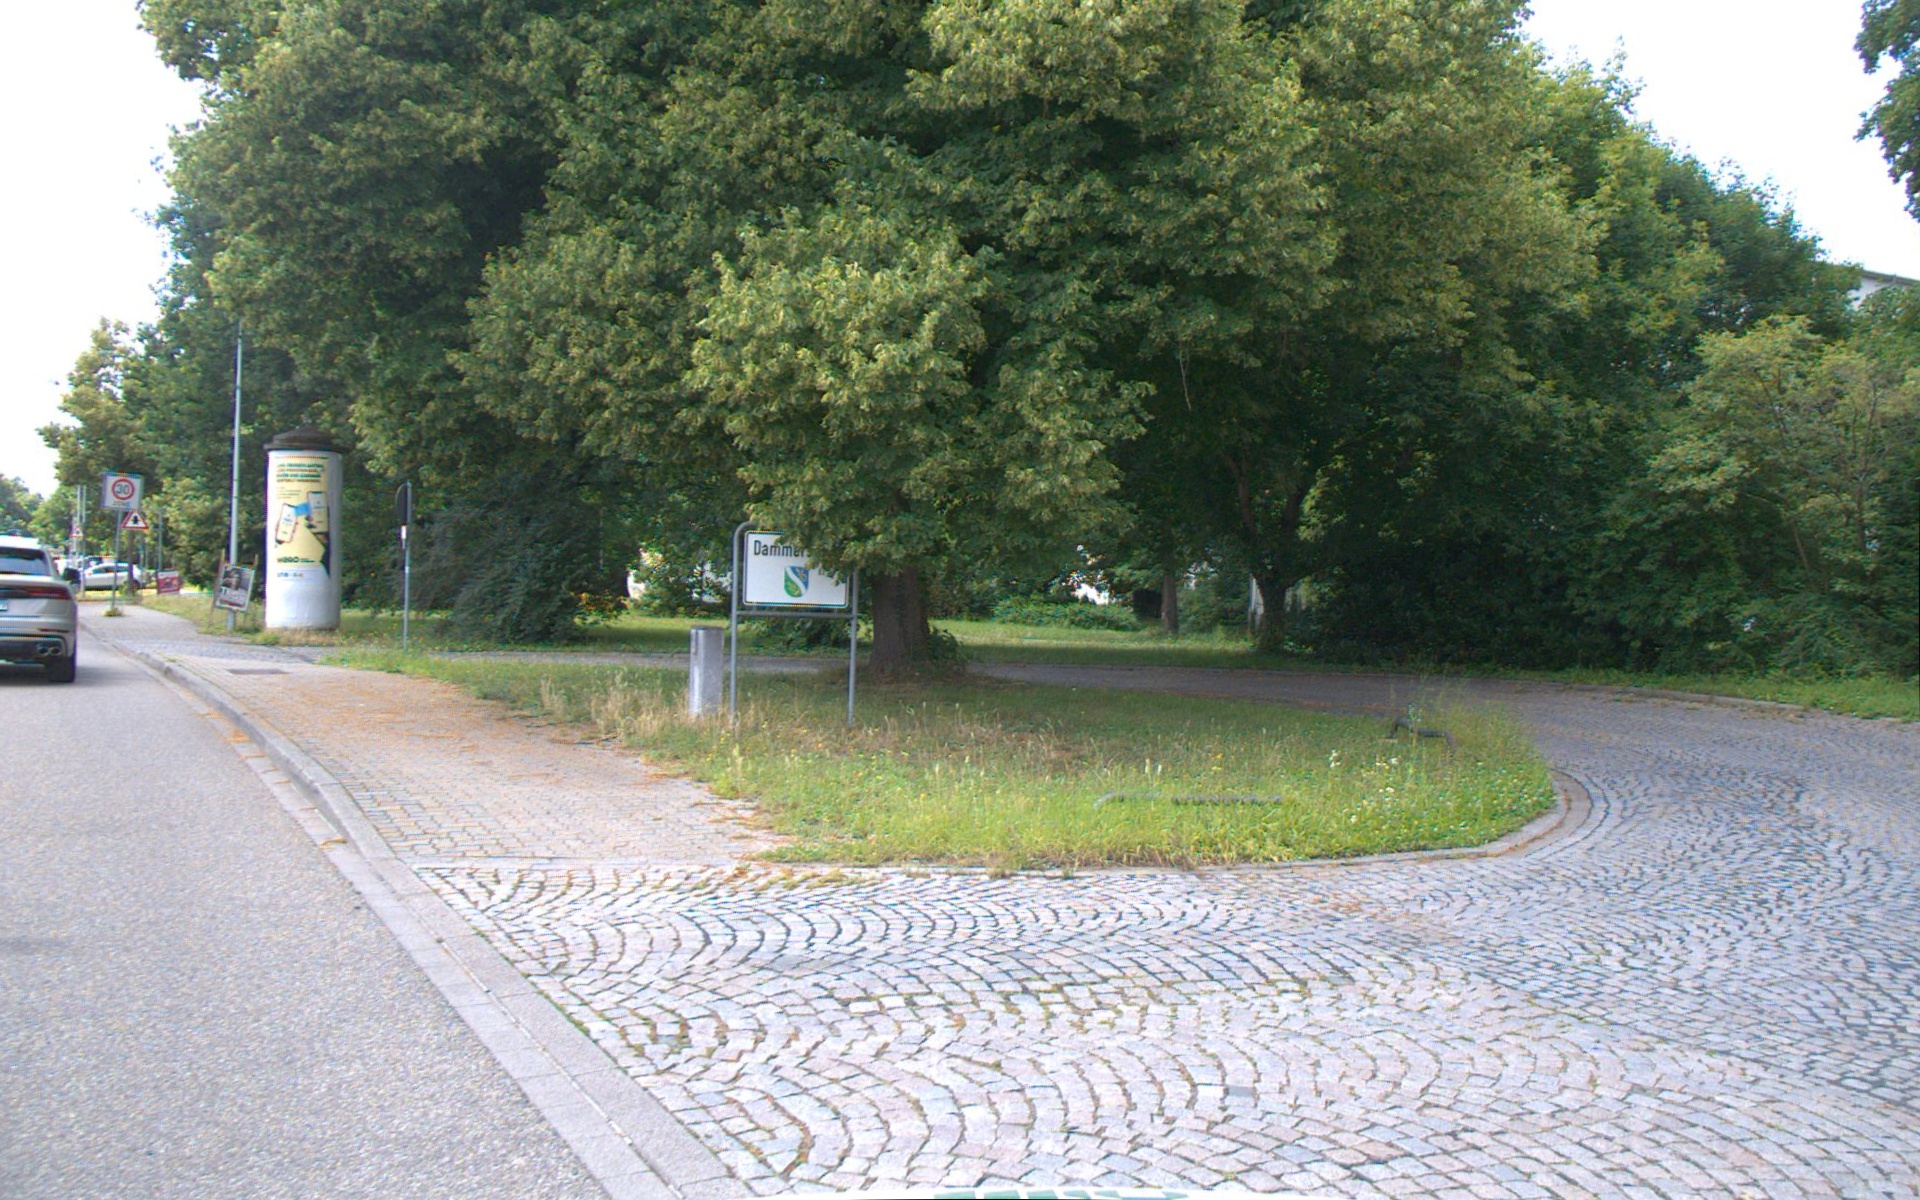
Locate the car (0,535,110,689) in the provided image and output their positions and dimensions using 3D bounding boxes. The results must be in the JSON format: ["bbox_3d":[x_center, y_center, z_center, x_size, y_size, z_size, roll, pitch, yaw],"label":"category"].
[{"bbox_3d":[-11.826,0.061,20.499,1.955,1.713,4.541,2,1,-24],"label":"car"}]

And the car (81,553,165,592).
[{"bbox_3d":[-45.186,-1.483,89.368,3.934,2.049,1.985,0,1,-24],"label":"car"}]
